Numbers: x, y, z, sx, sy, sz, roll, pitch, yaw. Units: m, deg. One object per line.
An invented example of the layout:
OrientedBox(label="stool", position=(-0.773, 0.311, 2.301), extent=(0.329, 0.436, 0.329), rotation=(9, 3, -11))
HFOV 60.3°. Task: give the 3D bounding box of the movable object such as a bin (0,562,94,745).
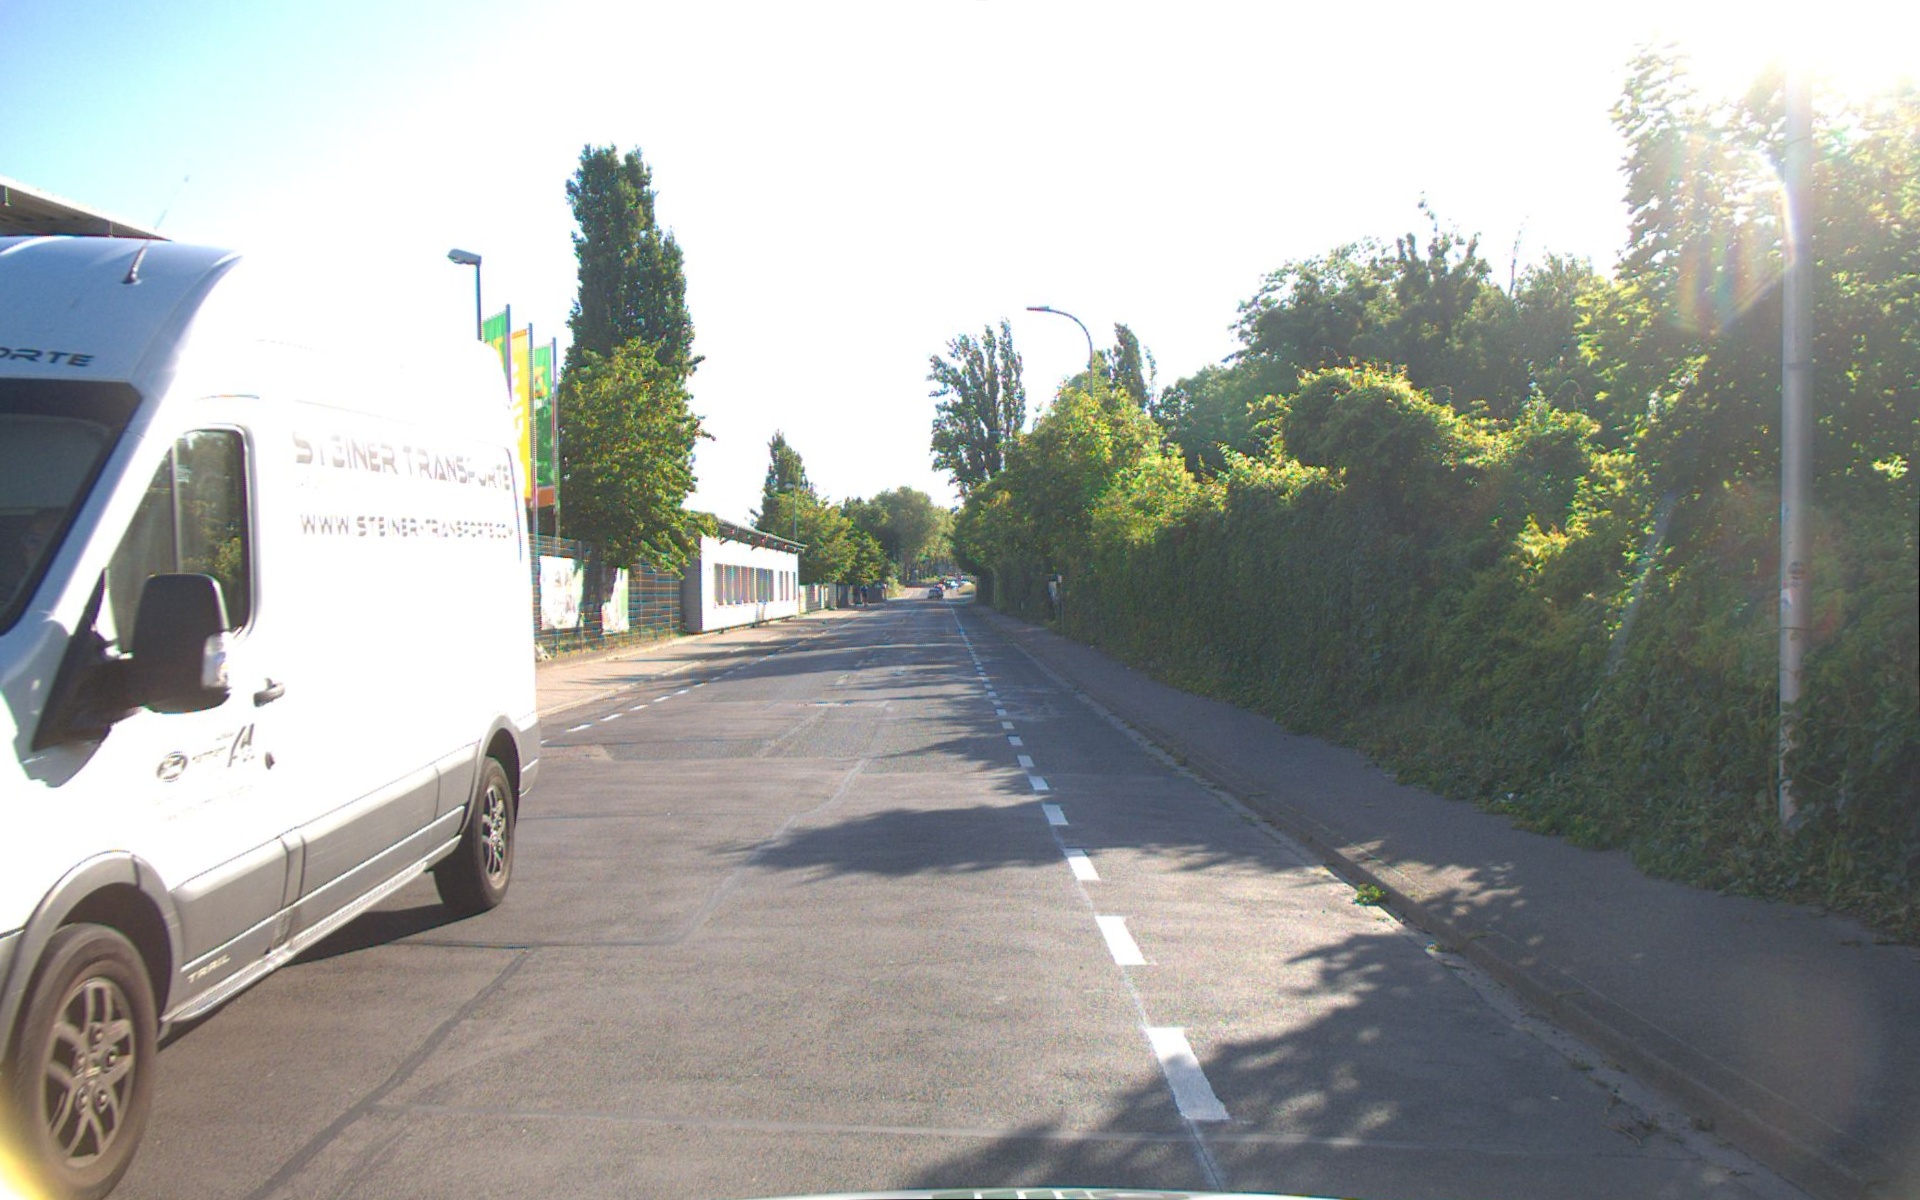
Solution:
OrientedBox(label="movable object such as a bin", position=(-11.166, 0.585, 18.302), extent=(1.624, 1.968, 3.095), rotation=(-1, 1, -4))

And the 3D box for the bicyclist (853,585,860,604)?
OrientedBox(label="bicyclist", position=(-8.447, -0.435, 134.594), extent=(0.548, 1.560, 0.689), rotation=(0, 0, -1))

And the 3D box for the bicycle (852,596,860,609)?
OrientedBox(label="bicycle", position=(-8.457, 0.183, 134.673), extent=(0.551, 1.052, 1.351), rotation=(0, 0, -1))

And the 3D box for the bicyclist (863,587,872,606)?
OrientedBox(label="bicyclist", position=(-7.550, -0.283, 134.503), extent=(0.675, 1.559, 0.722), rotation=(0, 0, -1))

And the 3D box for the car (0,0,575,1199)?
OrientedBox(label="car", position=(-3.121, 0.052, 5.907), extent=(2.080, 2.828, 5.924), rotation=(-3, 0, -1))

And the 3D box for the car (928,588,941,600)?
OrientedBox(label="car", position=(-3.662, -0.888, 241.797), extent=(1.902, 1.680, 4.309), rotation=(0, 0, -1))

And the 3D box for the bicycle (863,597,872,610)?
OrientedBox(label="bicycle", position=(-7.554, 0.307, 134.534), extent=(0.675, 1.052, 1.351), rotation=(0, 0, -1))
